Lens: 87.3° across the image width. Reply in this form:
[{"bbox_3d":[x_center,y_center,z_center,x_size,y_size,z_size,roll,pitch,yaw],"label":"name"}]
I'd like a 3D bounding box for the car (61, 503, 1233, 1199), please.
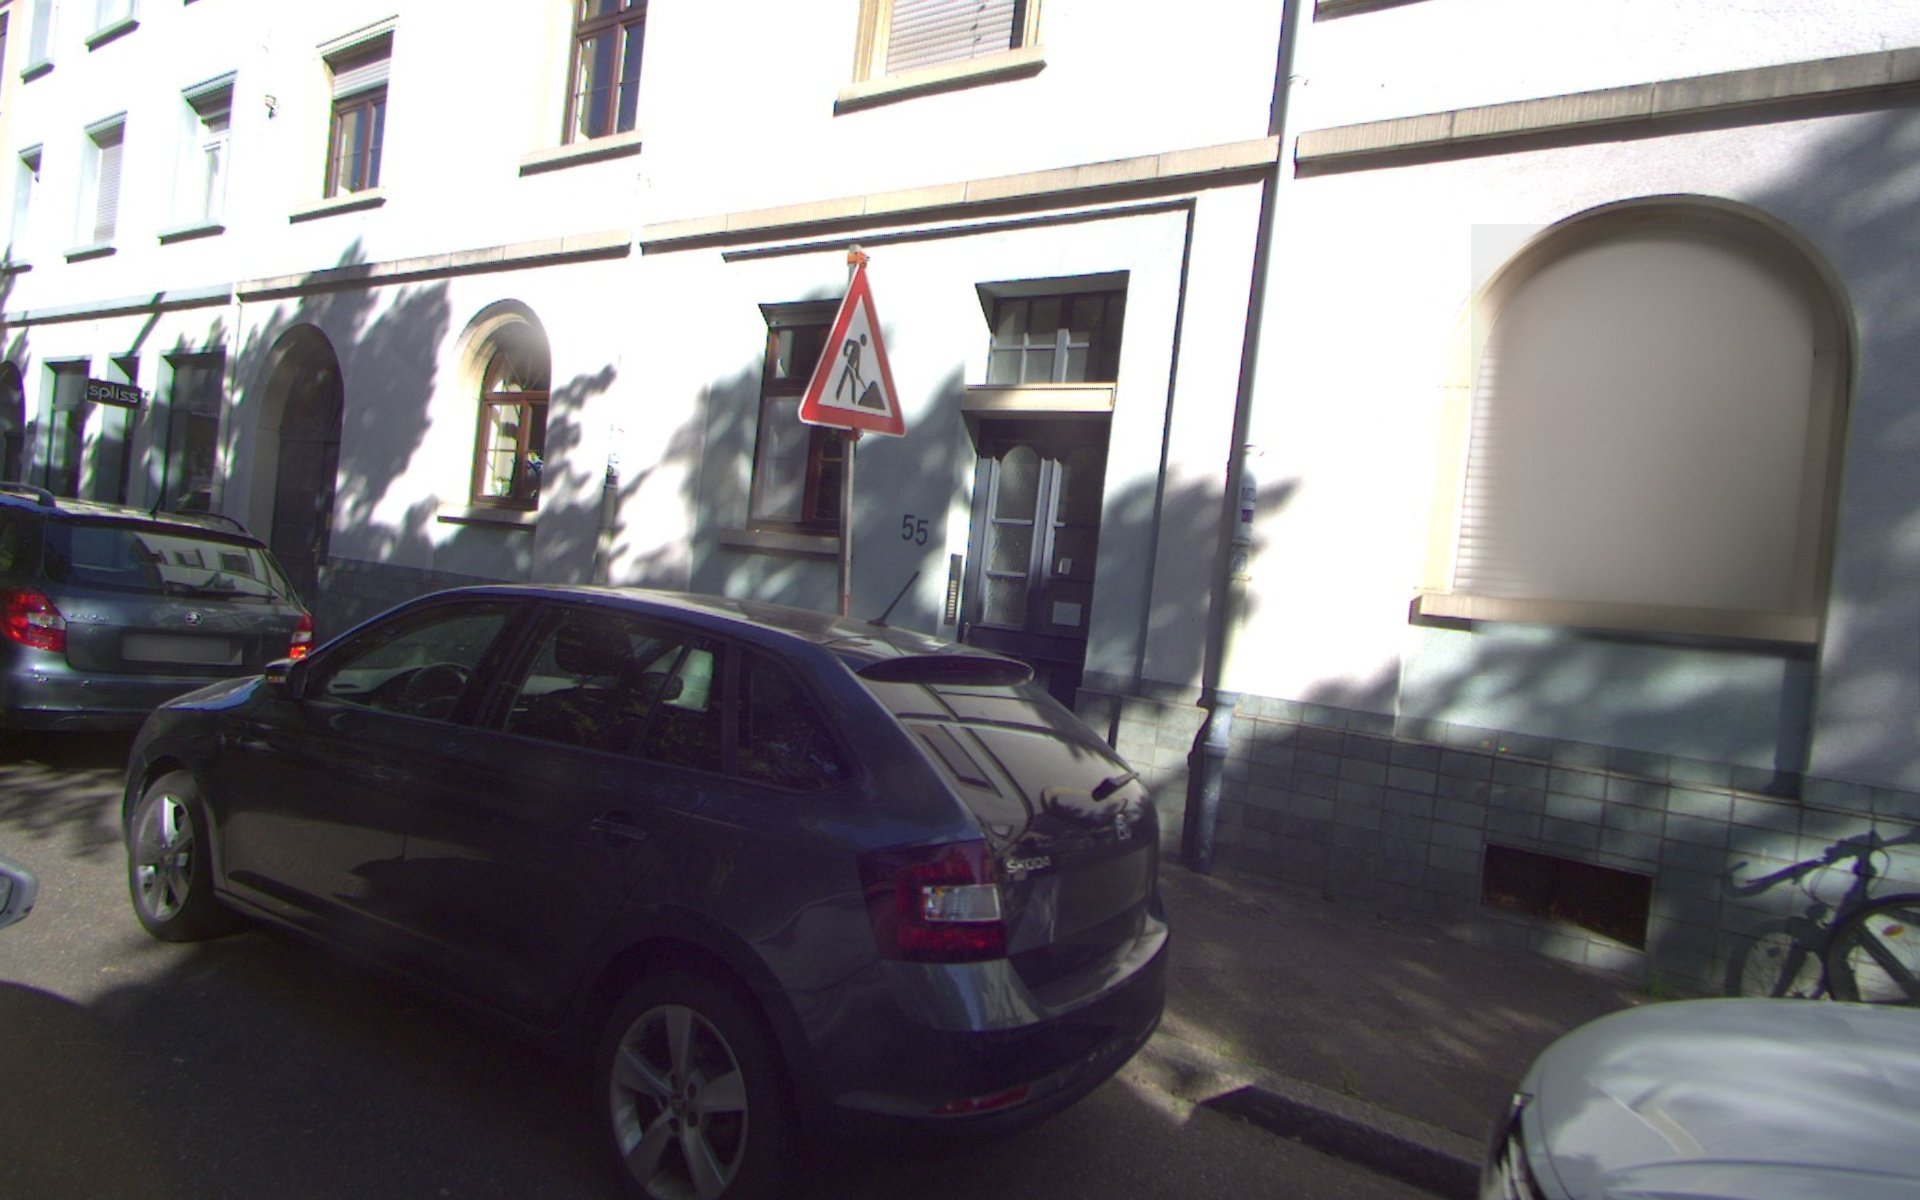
[{"bbox_3d":[-1.254,0.634,3.567,3.898,1.511,1.602,7,0,29],"label":"car"}]

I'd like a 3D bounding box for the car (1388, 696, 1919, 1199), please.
[{"bbox_3d":[2.884,1.127,0.900,4.491,1.437,1.609,6,0,30],"label":"car"}]

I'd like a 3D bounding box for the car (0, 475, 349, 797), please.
[{"bbox_3d":[-5.923,0.060,6.587,3.975,1.569,1.583,7,-1,33],"label":"car"}]

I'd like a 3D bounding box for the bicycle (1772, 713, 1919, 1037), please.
[{"bbox_3d":[4.371,1.169,3.748,1.951,1.195,0.395,7,0,32],"label":"bicycle"}]

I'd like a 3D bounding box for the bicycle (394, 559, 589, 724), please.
[{"bbox_3d":[-4.123,0.340,8.804,1.816,1.200,0.407,7,0,28],"label":"bicycle"}]
